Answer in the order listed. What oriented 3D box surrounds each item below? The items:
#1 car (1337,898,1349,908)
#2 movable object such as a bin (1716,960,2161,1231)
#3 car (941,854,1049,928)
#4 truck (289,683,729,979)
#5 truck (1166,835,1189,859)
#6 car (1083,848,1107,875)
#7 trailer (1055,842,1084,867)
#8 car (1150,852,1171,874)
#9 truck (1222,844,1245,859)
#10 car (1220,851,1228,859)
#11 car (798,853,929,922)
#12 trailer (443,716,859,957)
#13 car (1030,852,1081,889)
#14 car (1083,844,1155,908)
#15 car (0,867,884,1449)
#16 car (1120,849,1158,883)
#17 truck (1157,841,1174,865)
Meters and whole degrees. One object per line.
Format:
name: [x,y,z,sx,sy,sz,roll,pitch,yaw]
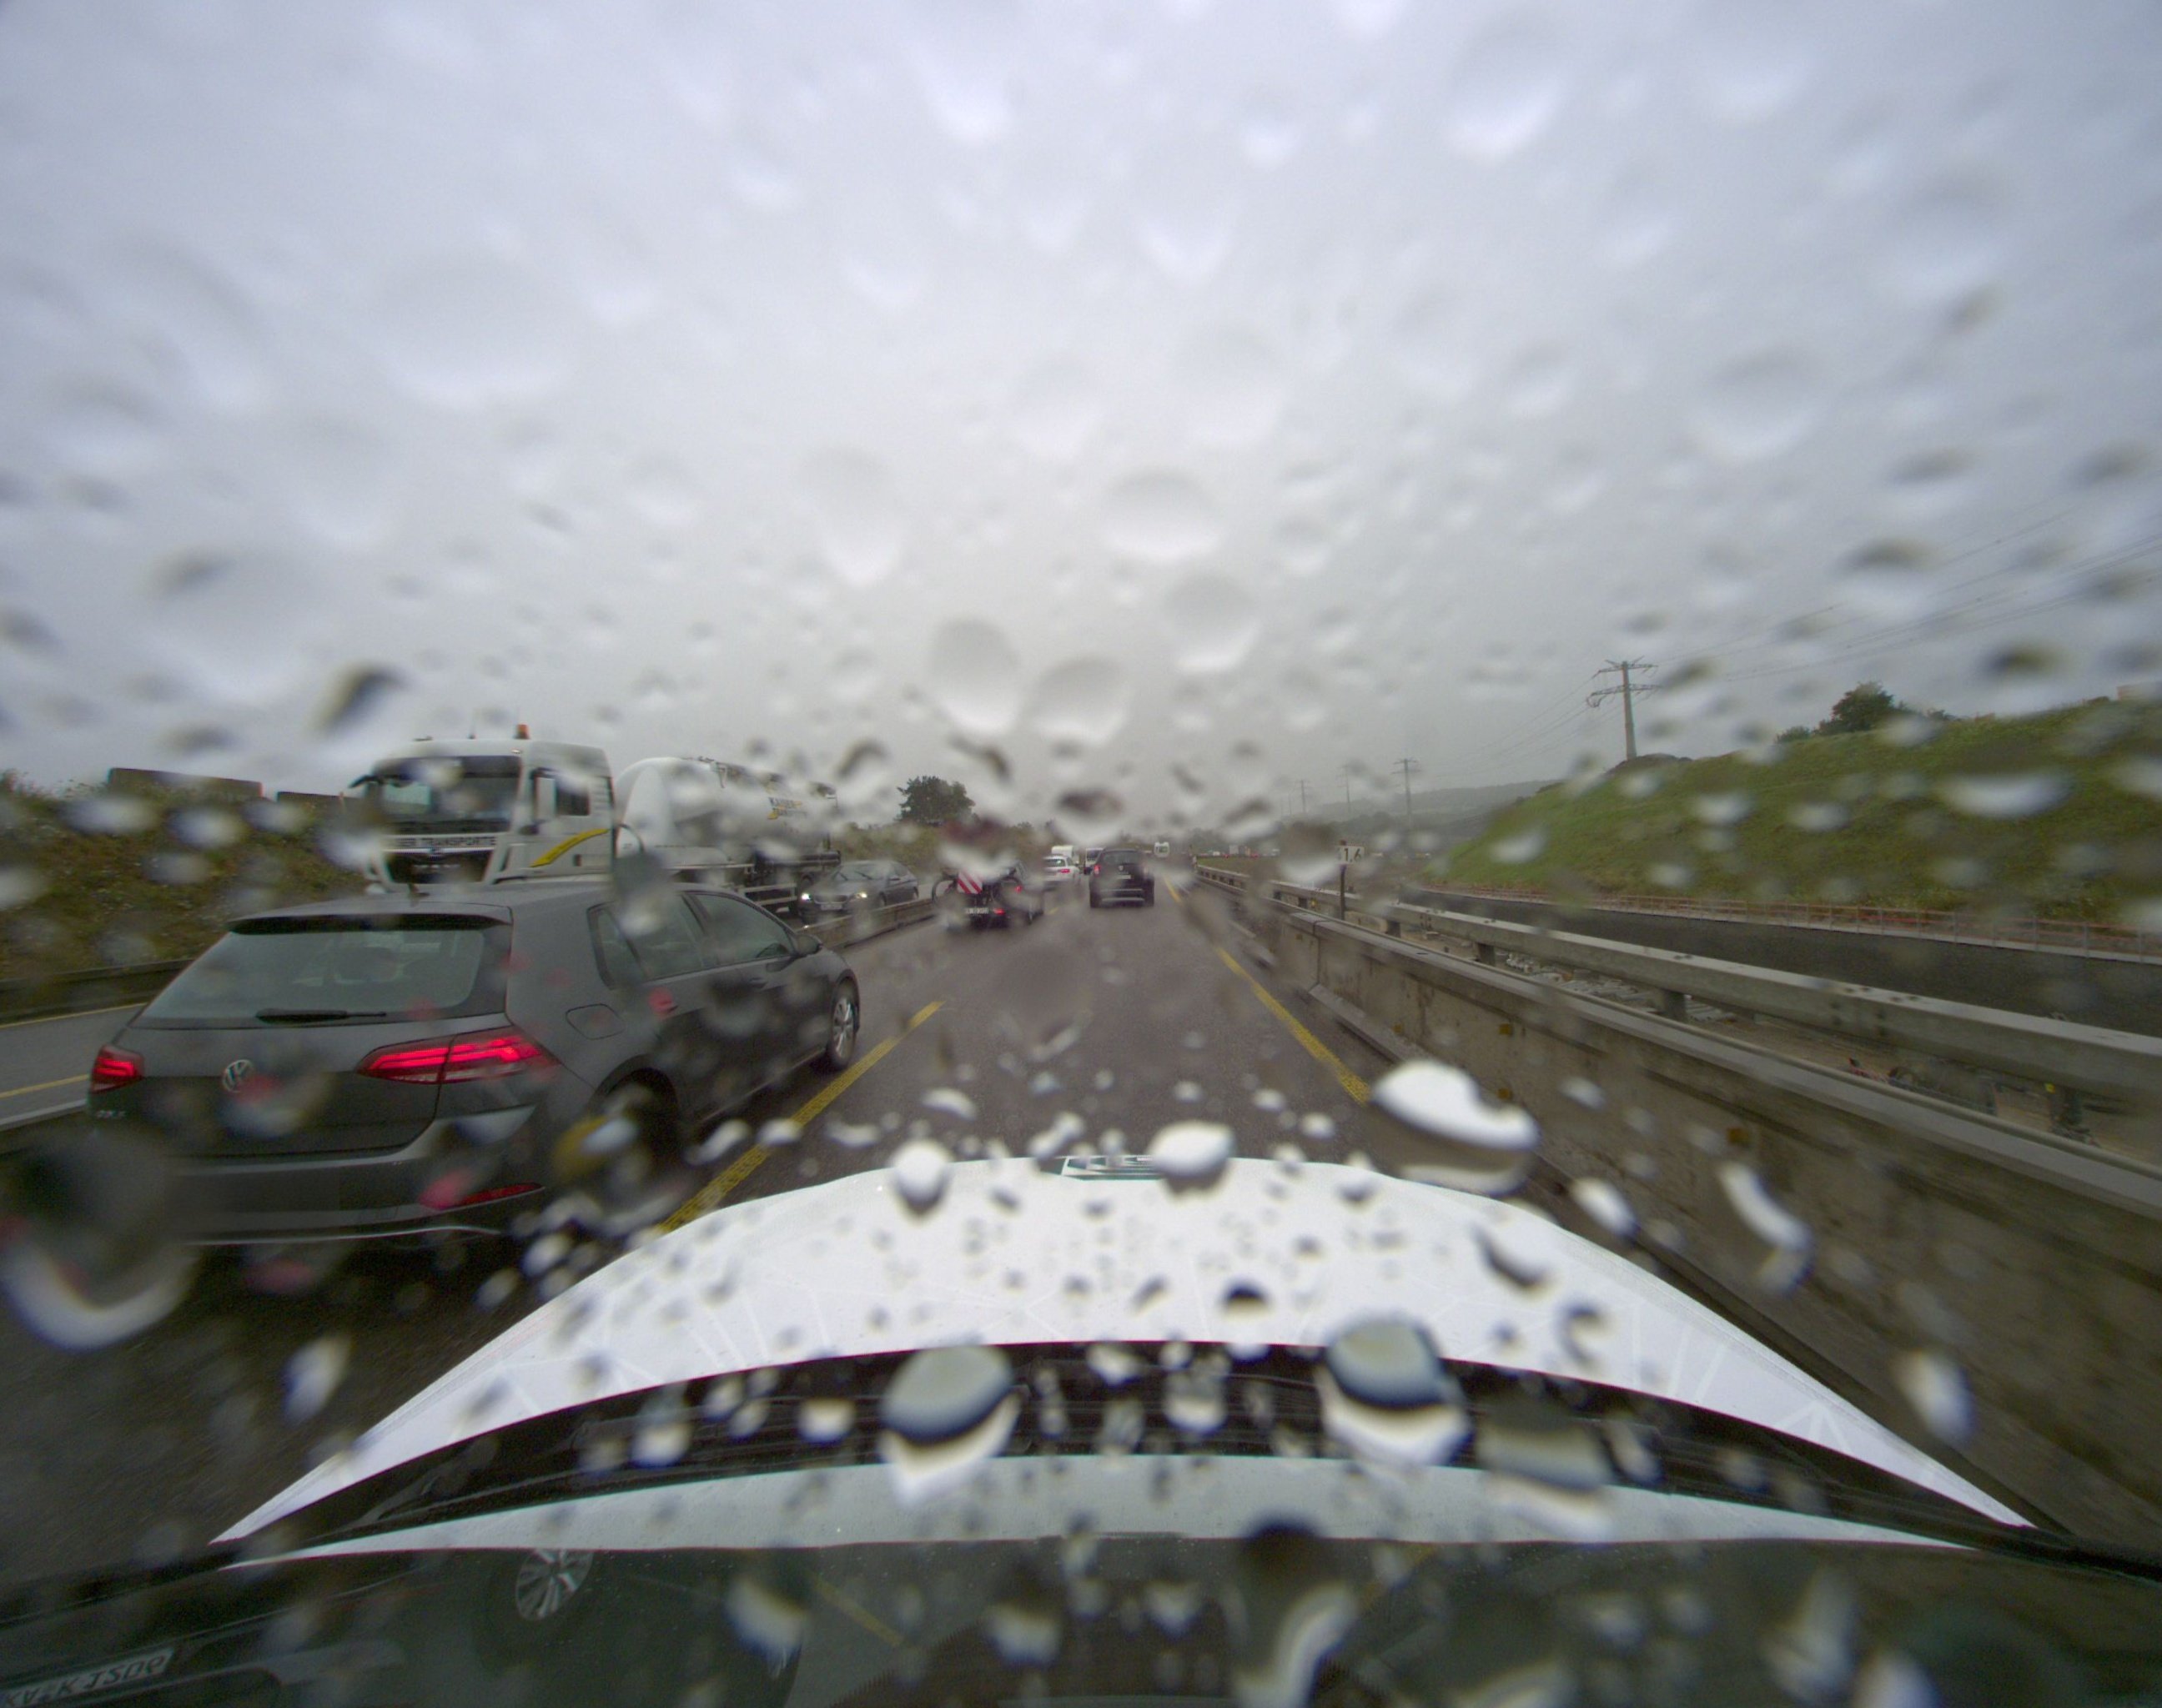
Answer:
car: [61.616,11.583,191.536,2.350,2.013,4.012,-1,0,11]
movable object such as a bin: [27.481,6.865,26.527,4.870,5.671,12.104,0,-3,5]
car: [-1.846,0.769,18.605,1.821,1.476,3.779,-2,0,3]
truck: [-9.143,-0.298,14.135,3.218,3.955,5.884,-2,0,2]
truck: [16.144,-1.148,135.199,3.180,3.761,8.534,-1,0,10]
car: [1.021,0.534,58.832,1.654,1.880,4.021,-1,0,2]
trailer: [-1.239,0.037,90.966,2.498,2.564,7.172,-1,0,5]
car: [6.128,0.706,63.018,1.523,1.640,4.018,-1,0,5]
truck: [45.494,-0.682,242.439,4.679,4.150,15.758,-1,0,19]
car: [35.216,0.161,200.328,1.762,1.916,4.015,-1,0,14]
car: [-5.363,0.768,20.791,1.796,1.439,4.953,-3,0,2]
trailer: [-8.851,-0.274,19.529,3.242,3.964,11.545,-2,0,3]
car: [-1.022,0.678,35.207,1.860,1.460,4.551,-1,0,2]
car: [1.176,0.588,23.539,1.795,1.646,3.783,-2,0,6]
car: [-2.522,0.896,4.465,1.608,1.506,4.370,-3,0,2]
car: [3.061,0.608,43.188,1.859,1.708,4.004,-1,0,4]
truck: [11.189,-0.123,108.476,2.139,3.166,6.468,-1,0,5]
